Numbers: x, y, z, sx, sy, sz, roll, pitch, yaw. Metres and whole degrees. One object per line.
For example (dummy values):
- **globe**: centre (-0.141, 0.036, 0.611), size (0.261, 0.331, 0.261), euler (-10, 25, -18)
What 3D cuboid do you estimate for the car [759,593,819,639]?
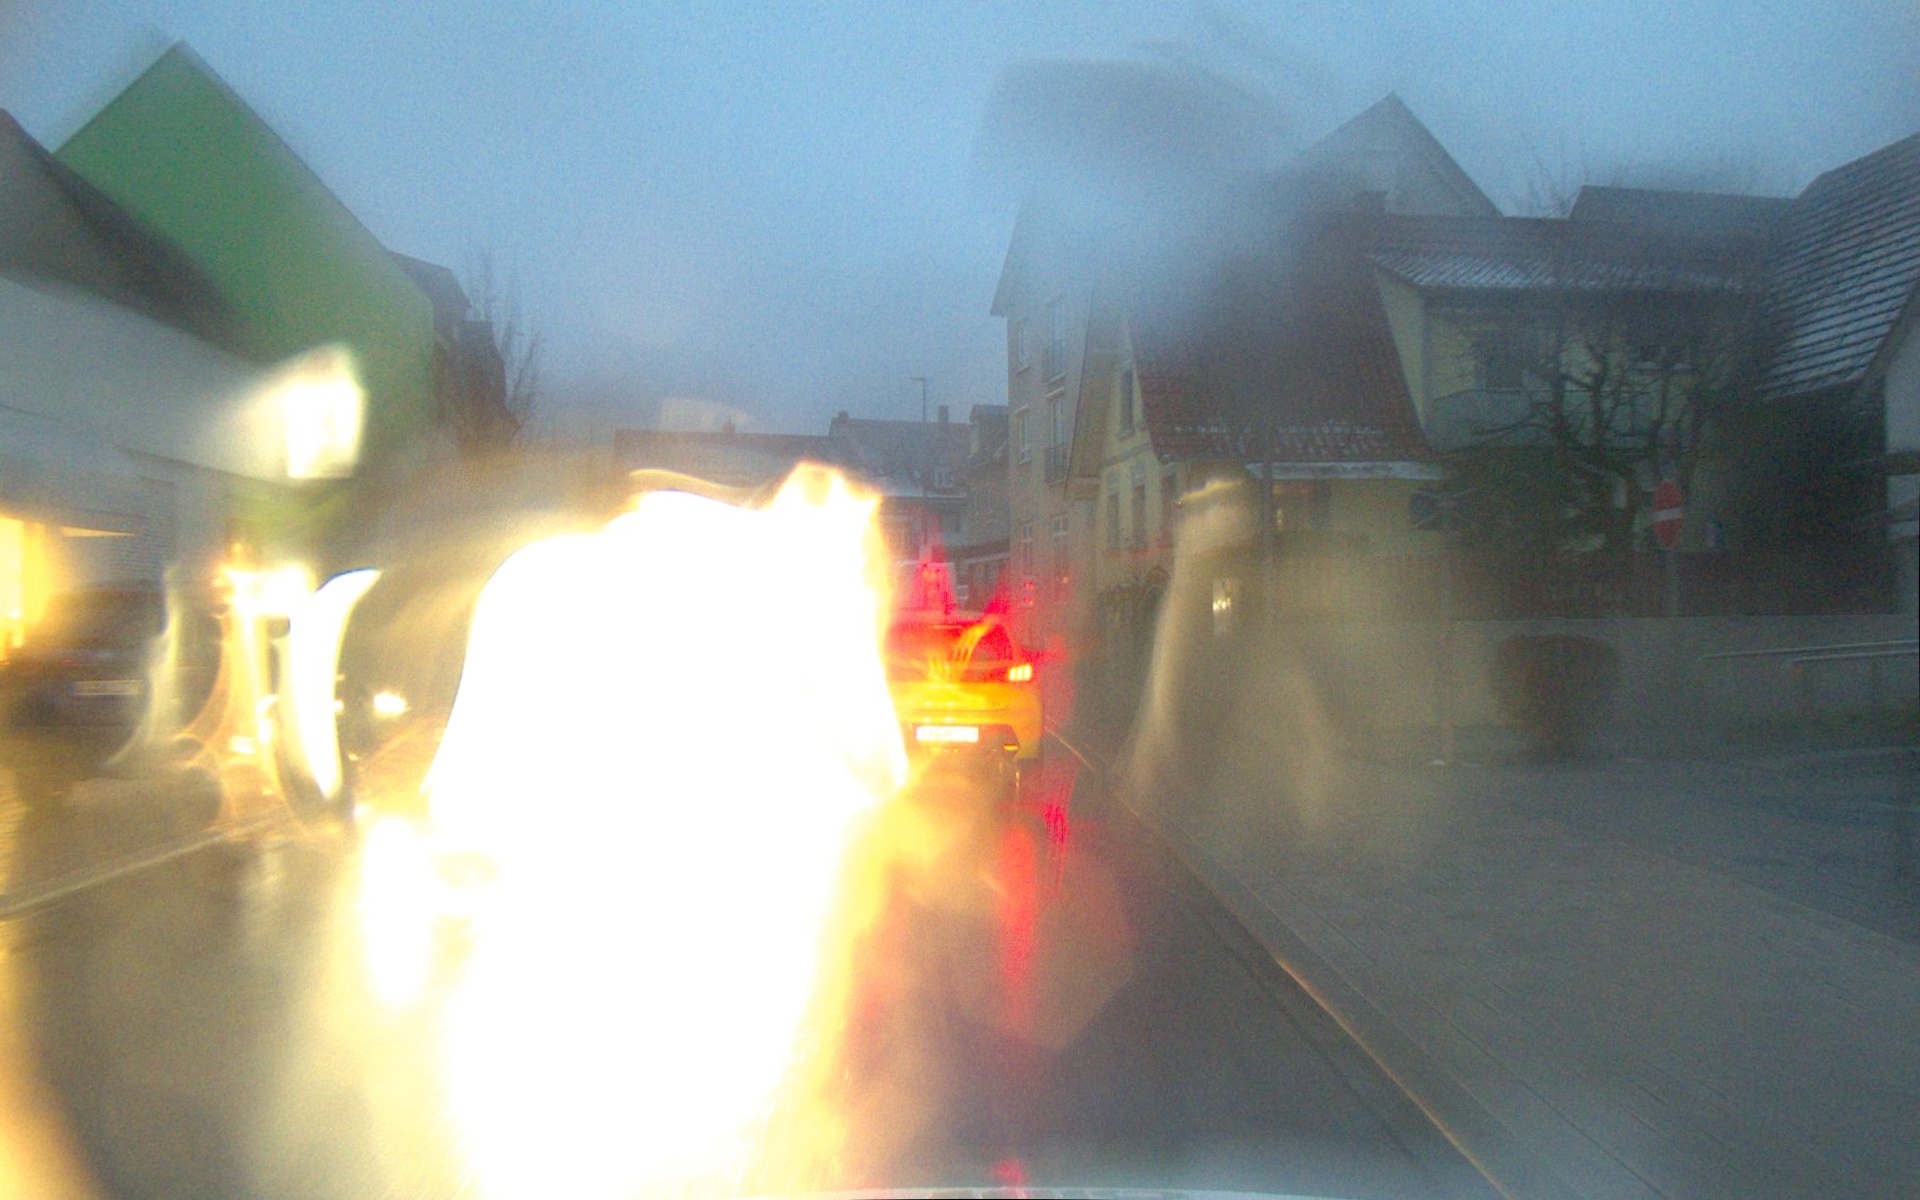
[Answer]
- **car**: centre (-6.289, 0.577, 60.539), size (1.957, 1.616, 3.991), euler (1, 0, -9)

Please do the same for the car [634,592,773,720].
- **car**: centre (-4.028, 0.782, 25.800), size (1.916, 1.573, 4.406), euler (-2, 3, -10)

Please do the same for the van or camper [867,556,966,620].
- **van or camper**: centre (-2.351, -0.627, 87.231), size (2.618, 3.100, 6.680), euler (-4, 1, -25)

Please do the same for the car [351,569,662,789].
- **car**: centre (-4.152, 0.607, 16.015), size (1.954, 1.735, 4.962), euler (2, 1, -5)

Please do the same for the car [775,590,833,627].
- **car**: centre (-8.129, 0.406, 85.742), size (1.964, 1.796, 4.326), euler (-2, 1, -19)

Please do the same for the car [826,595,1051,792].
- **car**: centre (-0.244, 0.764, 15.248), size (1.778, 1.560, 3.998), euler (1, 0, -2)

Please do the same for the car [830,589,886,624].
- **car**: centre (-5.349, 0.364, 86.269), size (1.962, 1.639, 4.154), euler (-2, -1, -17)

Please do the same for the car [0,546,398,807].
- **car**: centre (-6.402, 0.522, 14.099), size (2.046, 1.823, 5.016), euler (0, 0, -7)

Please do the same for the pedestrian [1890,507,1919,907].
- **pedestrian**: centre (4.544, 0.455, 6.906), size (0.819, 1.735, 0.845), euler (-2, 0, 4)

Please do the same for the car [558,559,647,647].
- **car**: centre (-11.387, 0.156, 53.119), size (2.440, 2.605, 6.745), euler (1, -1, -10)

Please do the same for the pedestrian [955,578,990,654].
- **pedestrian**: centre (0.294, 0.360, 38.714), size (0.731, 1.759, 0.872), euler (0, 1, -6)

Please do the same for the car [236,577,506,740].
- **car**: centre (-7.015, 0.647, 20.255), size (1.843, 1.740, 4.709), euler (1, 0, -4)
